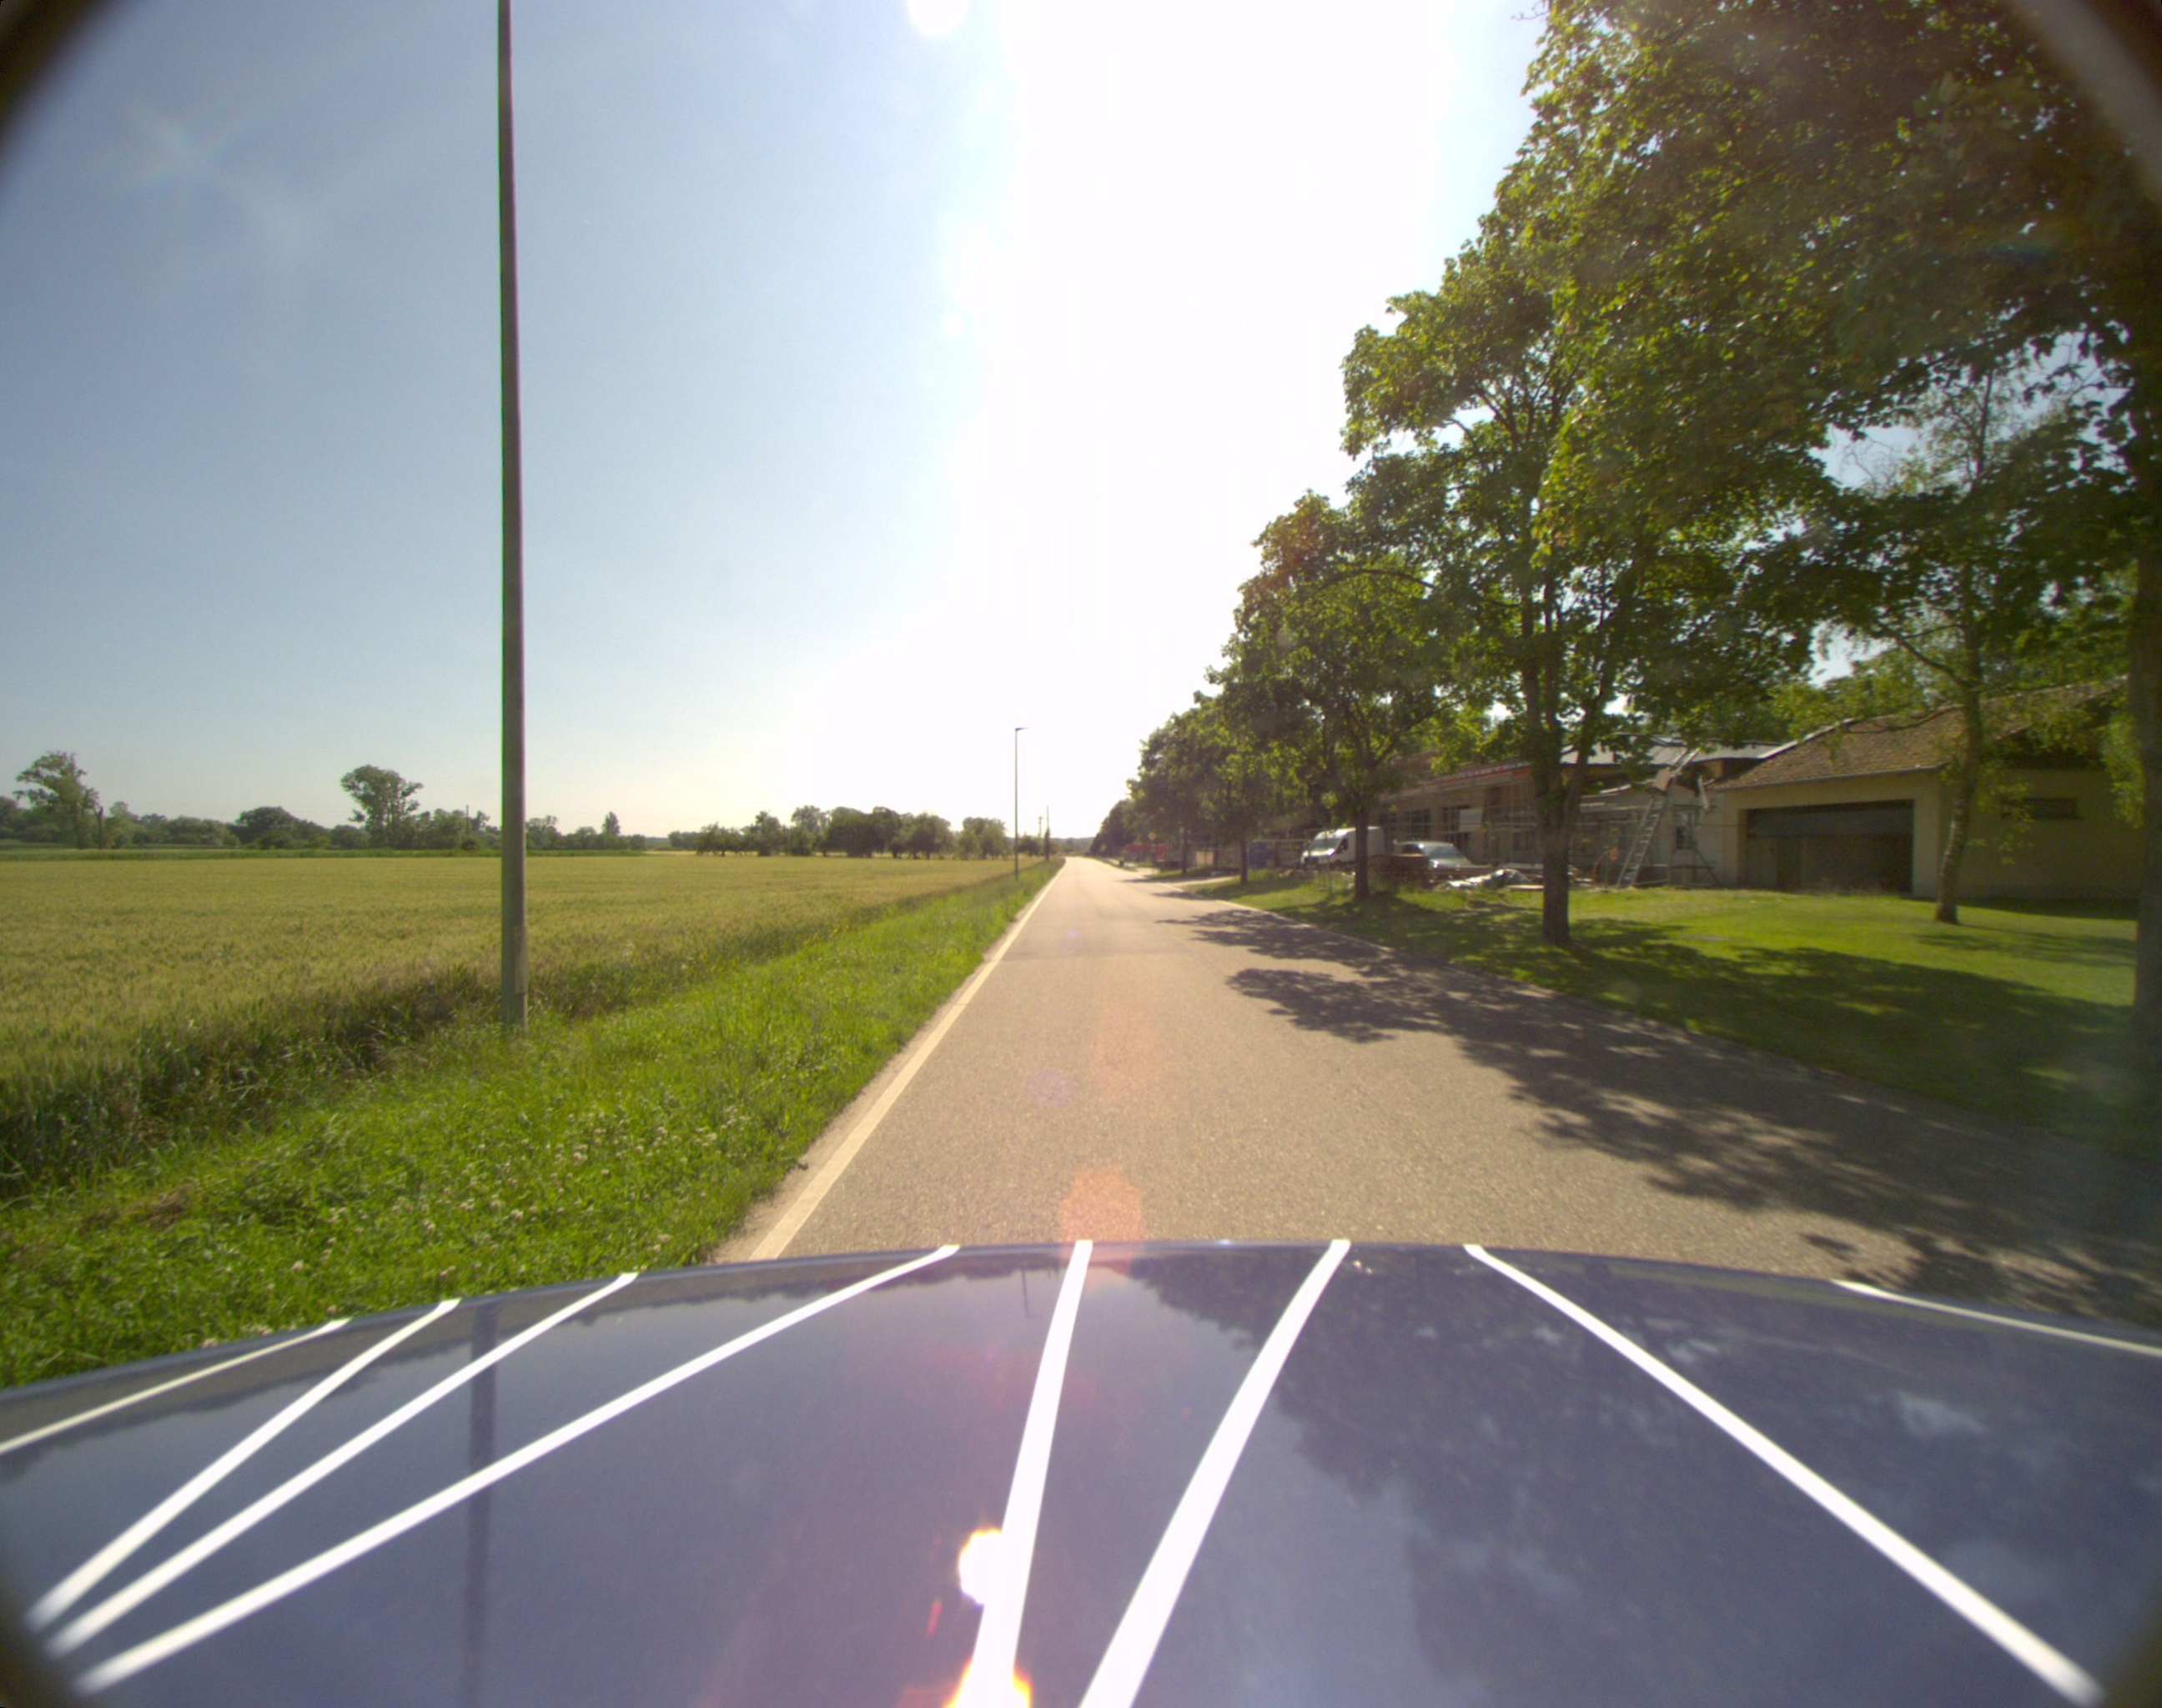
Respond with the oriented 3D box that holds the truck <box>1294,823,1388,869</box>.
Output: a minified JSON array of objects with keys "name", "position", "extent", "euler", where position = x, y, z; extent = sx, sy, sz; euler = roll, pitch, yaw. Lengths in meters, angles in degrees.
[{"name":"truck","position":[14.635,-0.465,42.562],"extent":[5.943,2.469,1.994],"euler":[-1,1,-37]}]

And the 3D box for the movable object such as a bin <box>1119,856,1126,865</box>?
[{"name":"movable object such as a bin","position":[4.647,0.697,84.111],"extent":[0.700,1.018,0.748],"euler":[1,1,7]}]

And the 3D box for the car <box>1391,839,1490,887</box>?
[{"name":"car","position":[14.635,0.327,31.254],"extent":[1.975,1.827,4.327],"euler":[0,1,-1]}]

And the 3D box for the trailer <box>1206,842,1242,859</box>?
[{"name":"trailer","position":[18.856,-0.461,100.079],"extent":[4.239,2.264,1.826],"euler":[1,1,-14]}]

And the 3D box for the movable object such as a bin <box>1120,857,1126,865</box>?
[{"name":"movable object such as a bin","position":[4.600,0.781,83.415],"extent":[0.563,0.872,0.614],"euler":[1,1,7]}]
